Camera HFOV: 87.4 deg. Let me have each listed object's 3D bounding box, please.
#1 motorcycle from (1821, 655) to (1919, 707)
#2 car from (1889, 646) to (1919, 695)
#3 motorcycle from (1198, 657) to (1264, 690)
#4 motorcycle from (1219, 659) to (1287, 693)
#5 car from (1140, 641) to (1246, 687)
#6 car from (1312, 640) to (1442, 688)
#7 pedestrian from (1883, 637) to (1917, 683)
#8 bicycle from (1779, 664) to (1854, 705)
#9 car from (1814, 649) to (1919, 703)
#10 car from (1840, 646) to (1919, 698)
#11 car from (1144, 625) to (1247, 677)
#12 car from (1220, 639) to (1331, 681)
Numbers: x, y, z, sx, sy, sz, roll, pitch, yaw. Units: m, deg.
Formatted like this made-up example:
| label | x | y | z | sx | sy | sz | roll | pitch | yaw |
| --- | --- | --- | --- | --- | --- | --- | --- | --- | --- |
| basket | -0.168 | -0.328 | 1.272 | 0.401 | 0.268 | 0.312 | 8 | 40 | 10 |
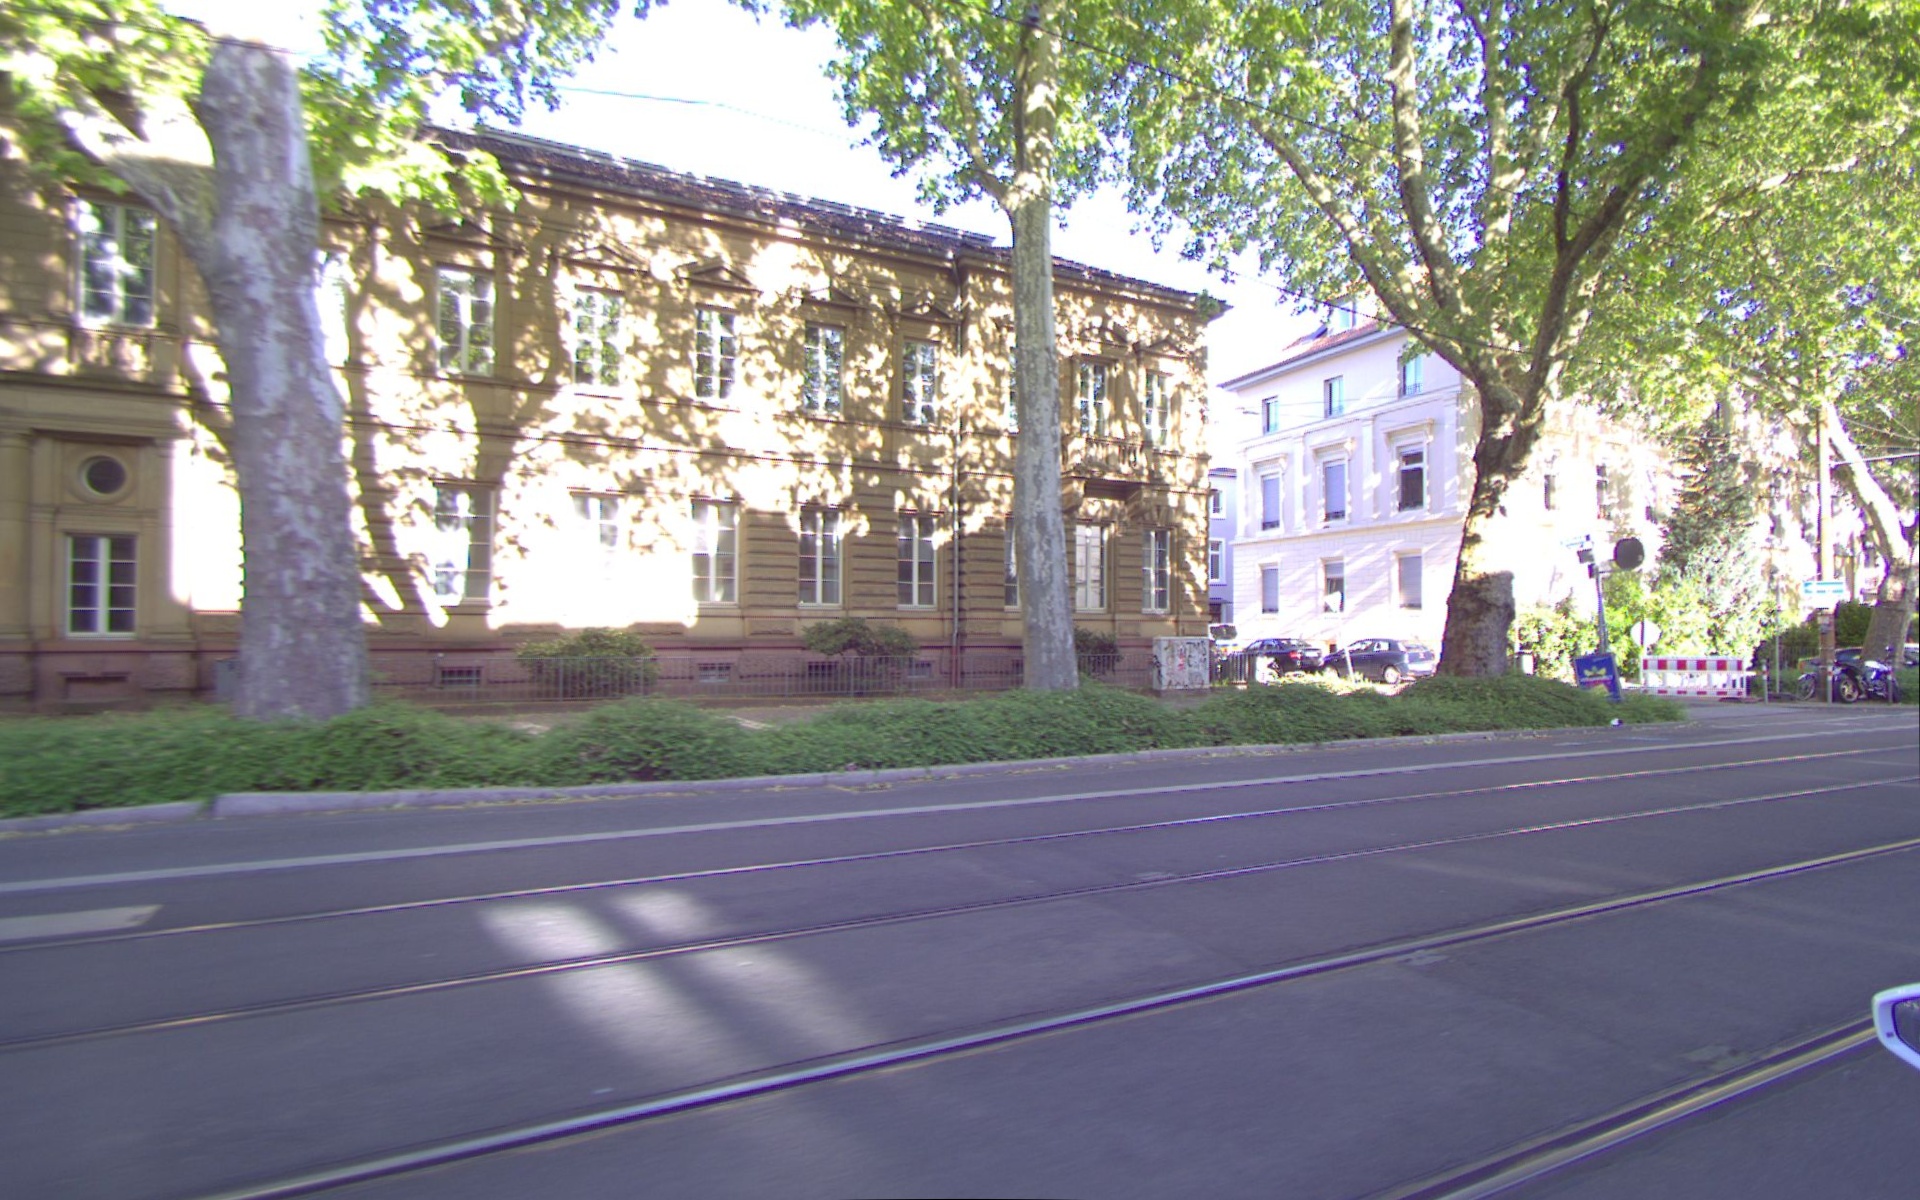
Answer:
| label | x | y | z | sx | sy | sz | roll | pitch | yaw |
| --- | --- | --- | --- | --- | --- | --- | --- | --- | --- |
| motorcycle | 21.751 | 1.916 | 23.933 | 2.355 | 1.162 | 0.883 | 1 | -2 | -22 |
| car | 30.931 | 2.156 | 30.286 | 1.783 | 1.481 | 3.905 | 2 | -3 | -28 |
| motorcycle | 8.573 | 2.316 | 31.784 | 1.923 | 0.990 | 0.719 | 2 | -1 | -17 |
| motorcycle | 8.942 | 2.327 | 30.659 | 1.923 | 0.990 | 0.719 | 2 | -1 | -17 |
| car | 7.818 | 2.127 | 34.063 | 1.818 | 1.350 | 3.919 | 2 | -1 | -16 |
| car | 13.853 | 2.116 | 33.578 | 1.673 | 1.437 | 3.762 | -2 | -2 | -28 |
| pedestrian | 38.734 | 2.459 | 41.395 | 0.829 | 1.874 | 0.859 | 2 | -2 | -36 |
| bicycle | 21.248 | 2.081 | 24.902 | 2.004 | 0.953 | 0.540 | 1 | -2 | -22 |
| car | 26.312 | 2.109 | 27.657 | 1.824 | 1.350 | 3.904 | 2 | -1 | -28 |
| car | 28.349 | 2.097 | 29.129 | 1.778 | 1.472 | 3.905 | 2 | -2 | -29 |
| car | 9.986 | 2.170 | 42.967 | 1.987 | 2.028 | 4.396 | -2 | -2 | -24 |
| car | 11.775 | 2.240 | 37.711 | 1.673 | 1.437 | 3.905 | -1 | -2 | -28 |
